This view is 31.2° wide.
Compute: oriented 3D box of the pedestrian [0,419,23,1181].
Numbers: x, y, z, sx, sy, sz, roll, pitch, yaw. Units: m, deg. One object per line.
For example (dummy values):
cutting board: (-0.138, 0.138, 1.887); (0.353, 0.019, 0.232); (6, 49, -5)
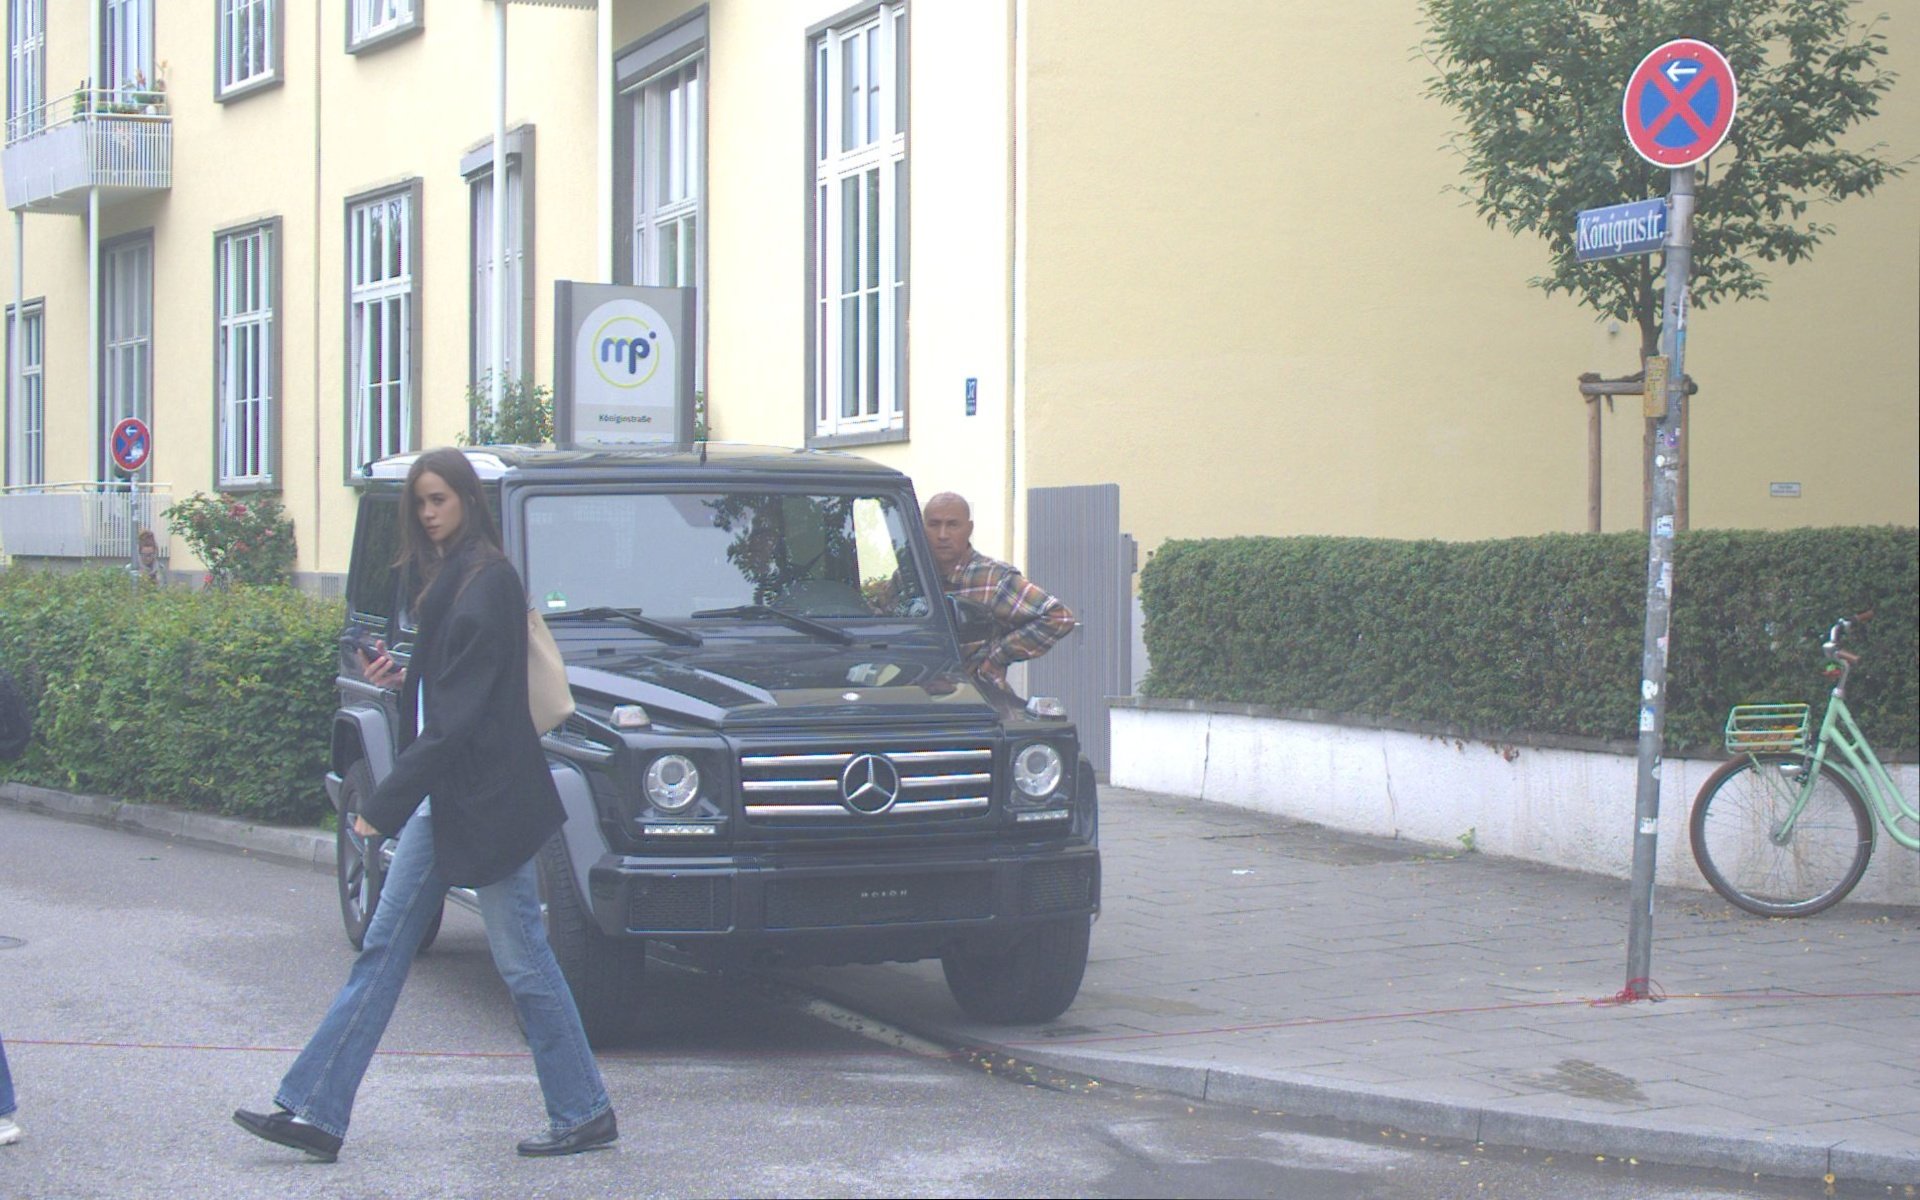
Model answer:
pedestrian: (-2.786, 0.478, 7.990); (0.990, 1.803, 0.659); (0, 1, 5)

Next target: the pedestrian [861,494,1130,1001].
pedestrian: (0.113, 0.500, 12.433); (0.848, 1.751, 0.954); (-1, 1, -6)

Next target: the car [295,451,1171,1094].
car: (-1.056, 0.454, 12.530); (1.873, 1.881, 4.620); (-1, 1, -21)

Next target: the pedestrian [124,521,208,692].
pedestrian: (-7.900, 0.056, 34.192); (0.631, 1.678, 0.698); (-2, 1, -26)

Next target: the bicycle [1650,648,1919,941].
bicycle: (3.650, 0.726, 13.051); (1.947, 1.081, 0.528); (-2, -1, 35)

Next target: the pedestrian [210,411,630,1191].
pedestrian: (-1.376, 0.468, 8.689); (0.850, 1.851, 0.767); (-2, 1, -23)

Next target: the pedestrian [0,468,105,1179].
pedestrian: (-2.716, 0.541, 8.802); (0.826, 1.740, 0.740); (0, 1, 4)
